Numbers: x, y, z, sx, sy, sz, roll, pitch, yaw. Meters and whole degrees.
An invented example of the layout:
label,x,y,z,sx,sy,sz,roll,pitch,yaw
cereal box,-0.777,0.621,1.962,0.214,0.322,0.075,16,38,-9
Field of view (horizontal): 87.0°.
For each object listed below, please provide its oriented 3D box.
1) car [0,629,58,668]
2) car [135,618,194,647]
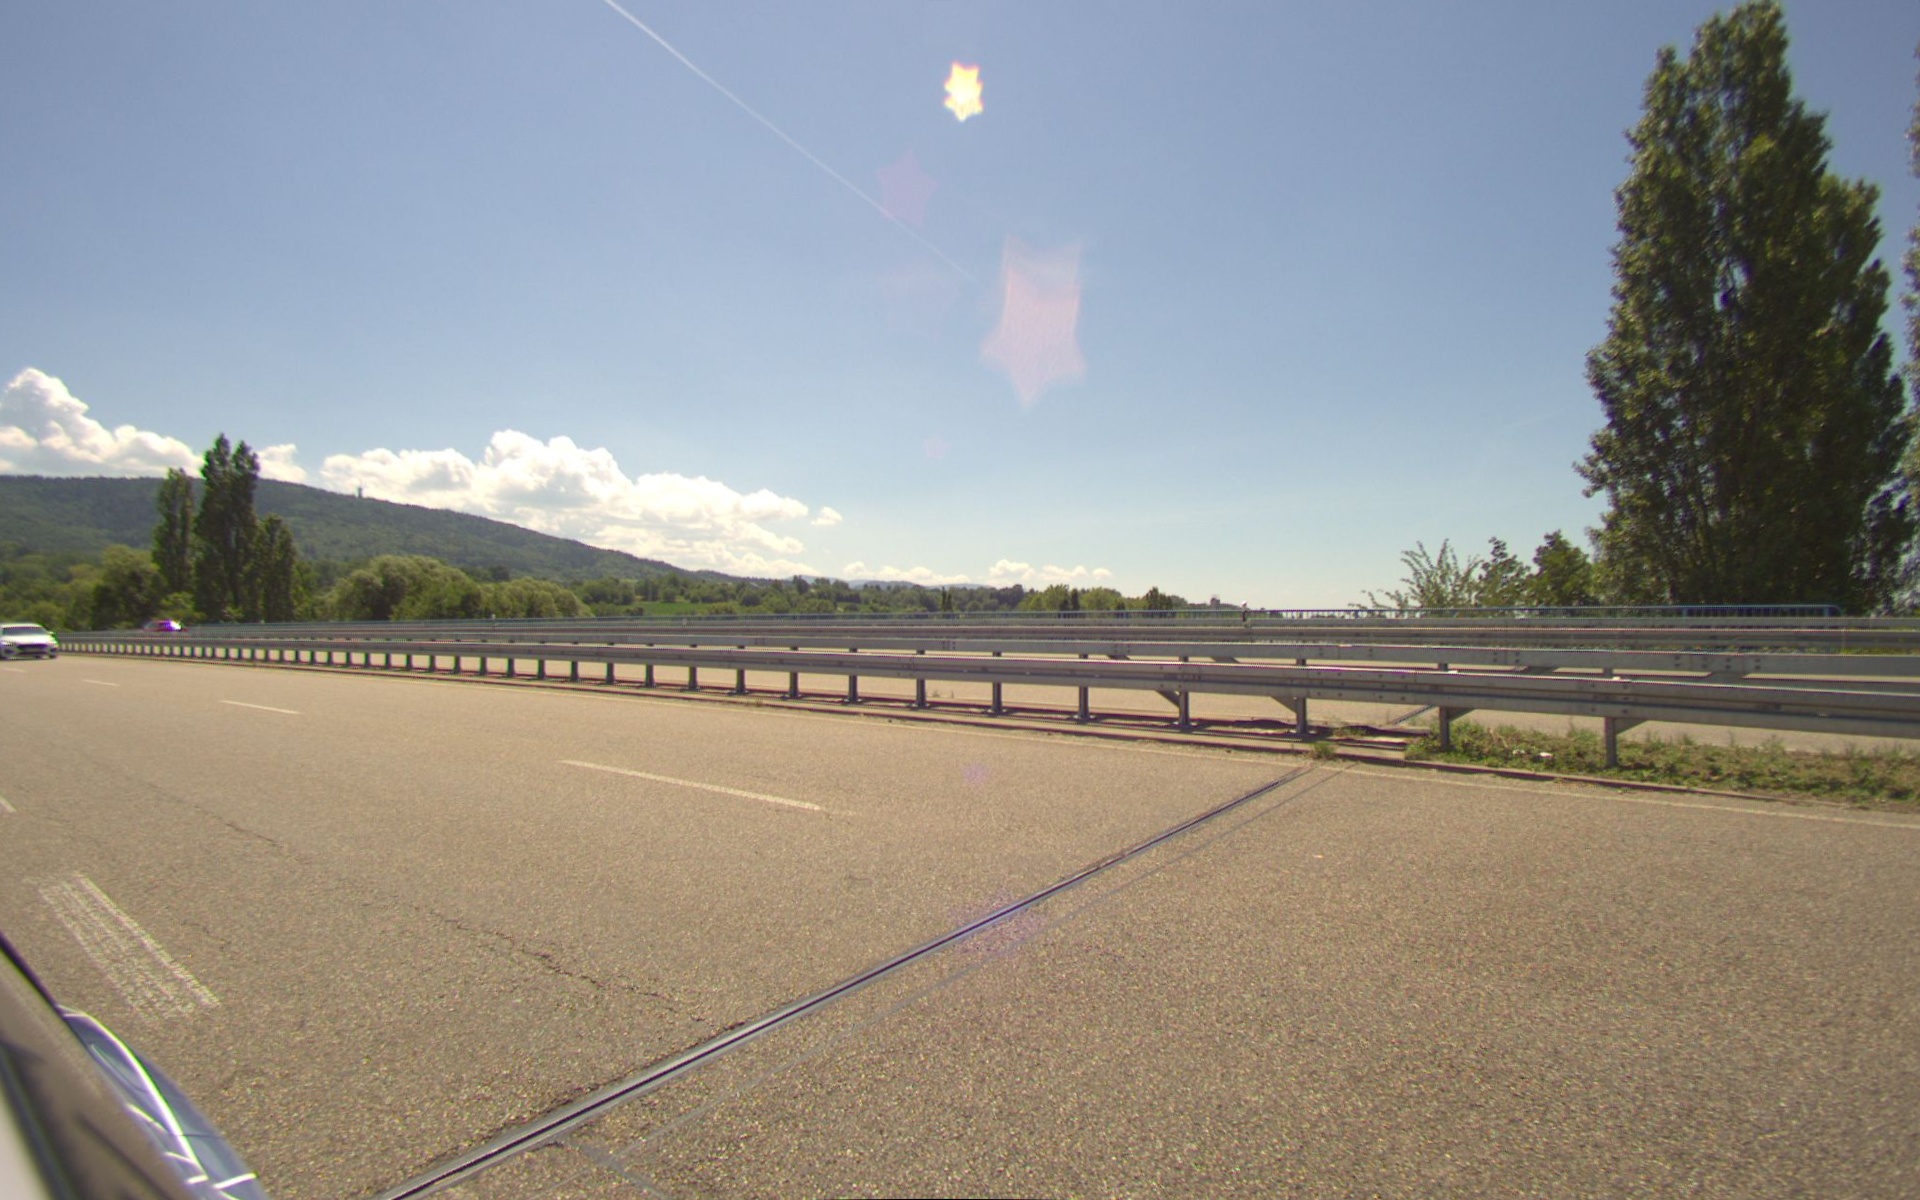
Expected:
label,x,y,z,sx,sy,sz,roll,pitch,yaw
car,-38.586,1.940,41.478,4.466,1.418,1.822,-1,0,40
car,-48.840,1.962,62.101,5.045,1.680,1.825,-1,-1,39
